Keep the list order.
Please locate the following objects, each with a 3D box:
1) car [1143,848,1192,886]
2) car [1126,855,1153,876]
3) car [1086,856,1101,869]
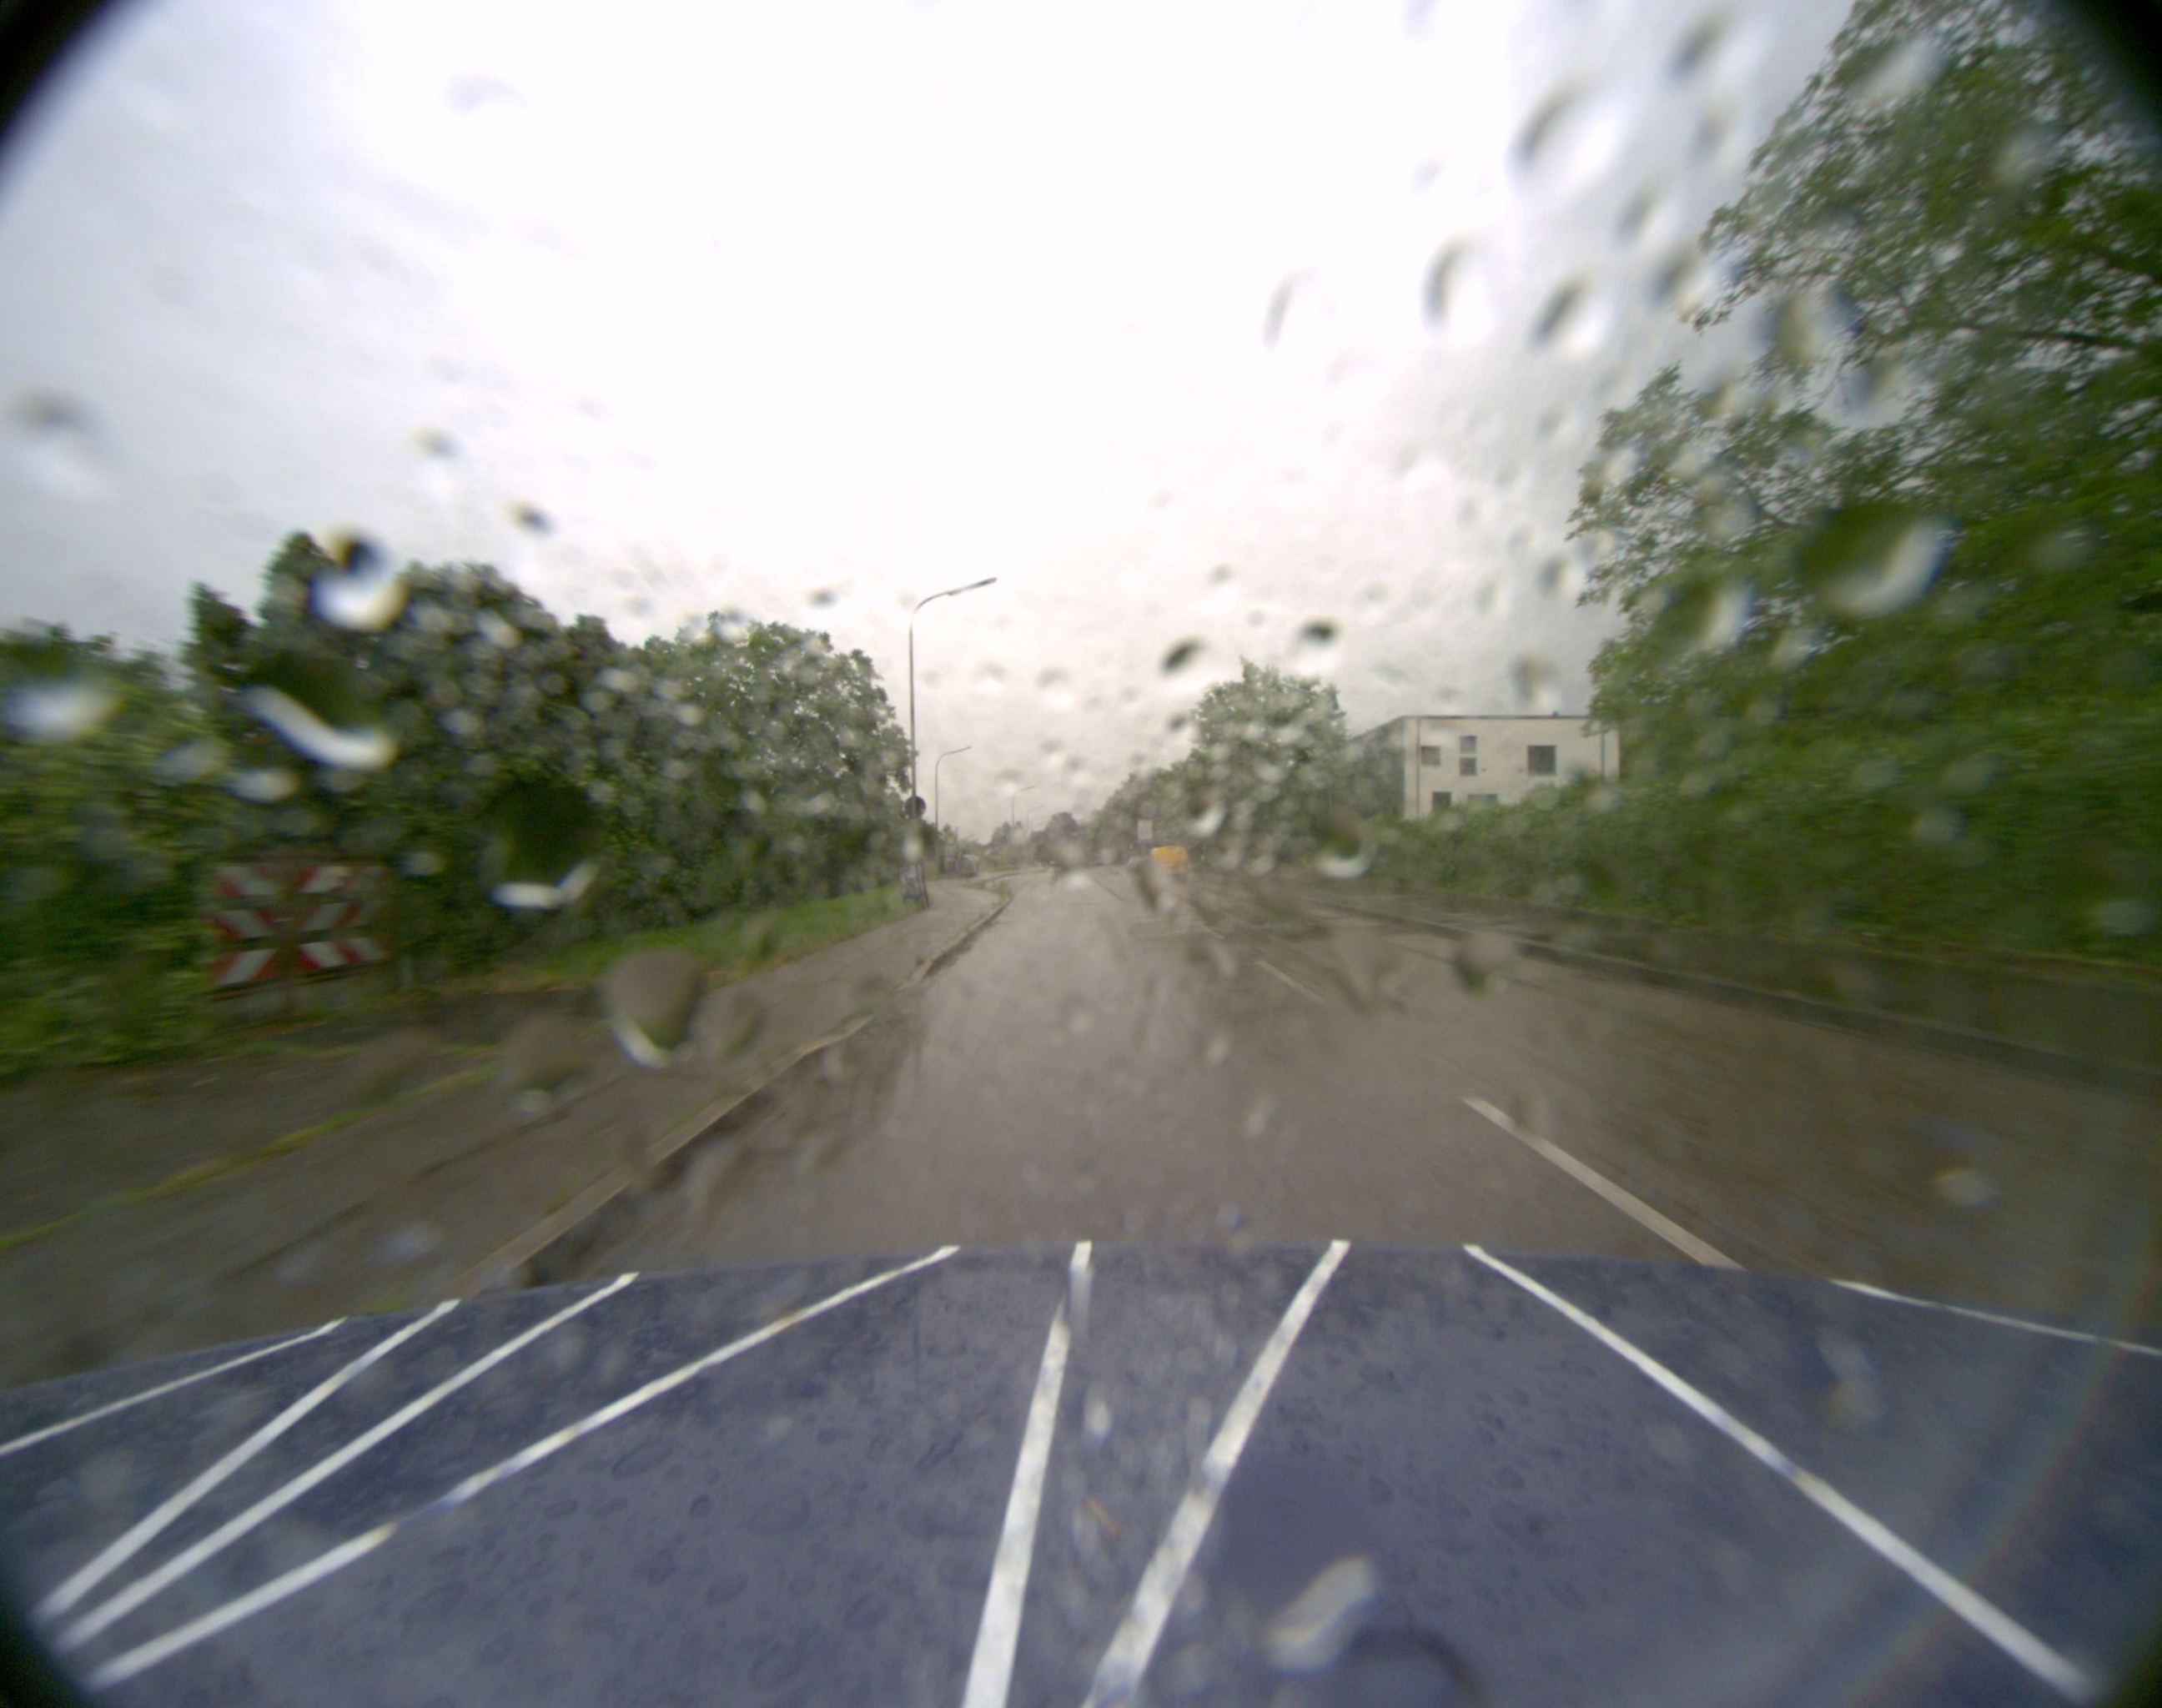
[{"bbox_3d":[4.675,0.662,41.638,1.999,1.865,4.469,-3,0,-2],"label":"car"},{"bbox_3d":[4.584,0.890,59.699,1.830,1.543,3.615,-3,0,1],"label":"car"},{"bbox_3d":[1.678,1.136,101.796,1.823,1.499,4.001,-3,0,3],"label":"car"}]
